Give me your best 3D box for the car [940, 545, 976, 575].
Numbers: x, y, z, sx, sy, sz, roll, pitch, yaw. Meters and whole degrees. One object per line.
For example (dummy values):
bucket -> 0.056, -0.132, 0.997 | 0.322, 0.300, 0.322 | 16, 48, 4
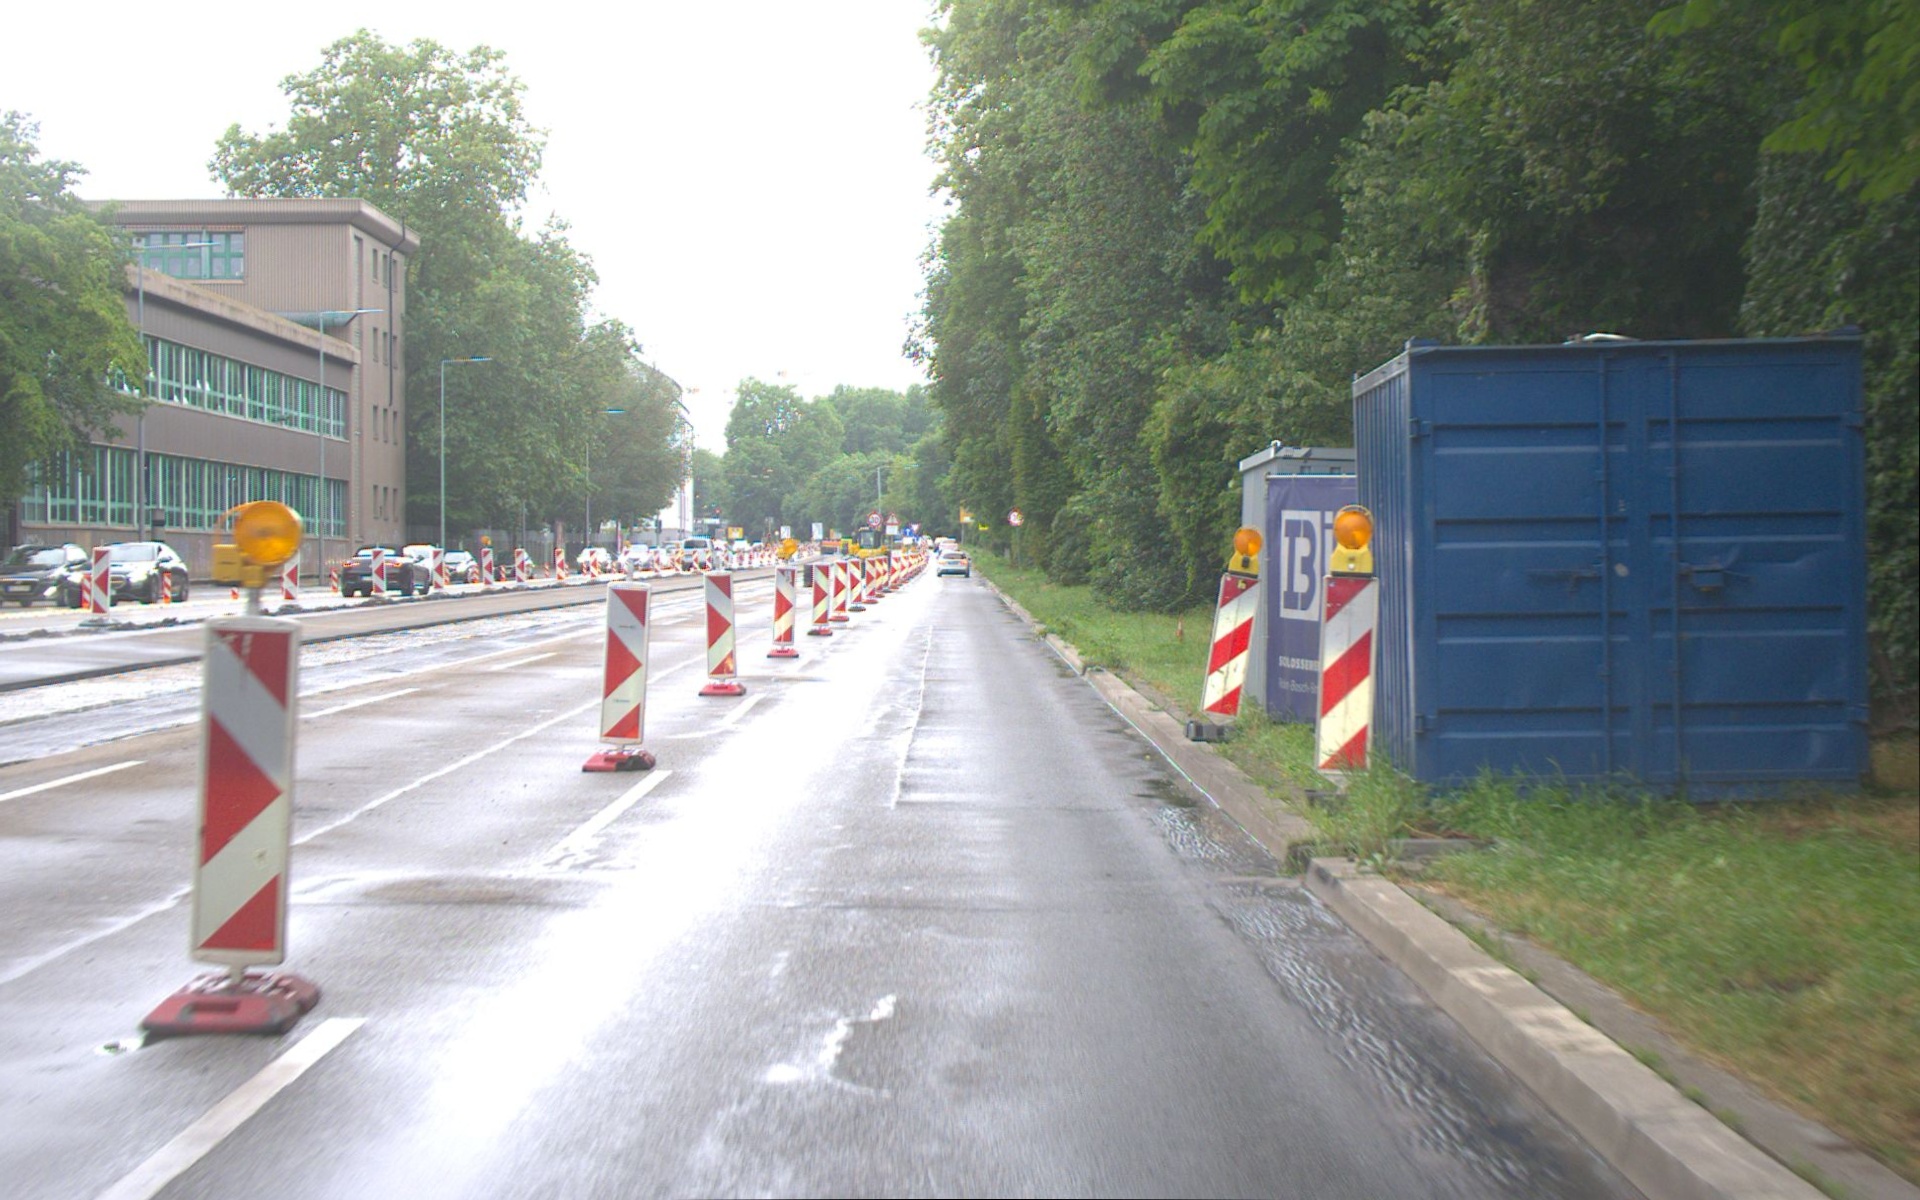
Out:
car -> -0.107, -2.262, 193.419 | 1.993, 1.634, 4.000 | 0, 1, -1

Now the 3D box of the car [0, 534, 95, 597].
car -> -21.773, -0.821, 80.682 | 1.971, 1.437, 4.000 | 0, 1, -1

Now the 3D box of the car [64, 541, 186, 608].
car -> -18.635, -0.585, 76.854 | 1.723, 1.437, 4.000 | 0, 1, 0
